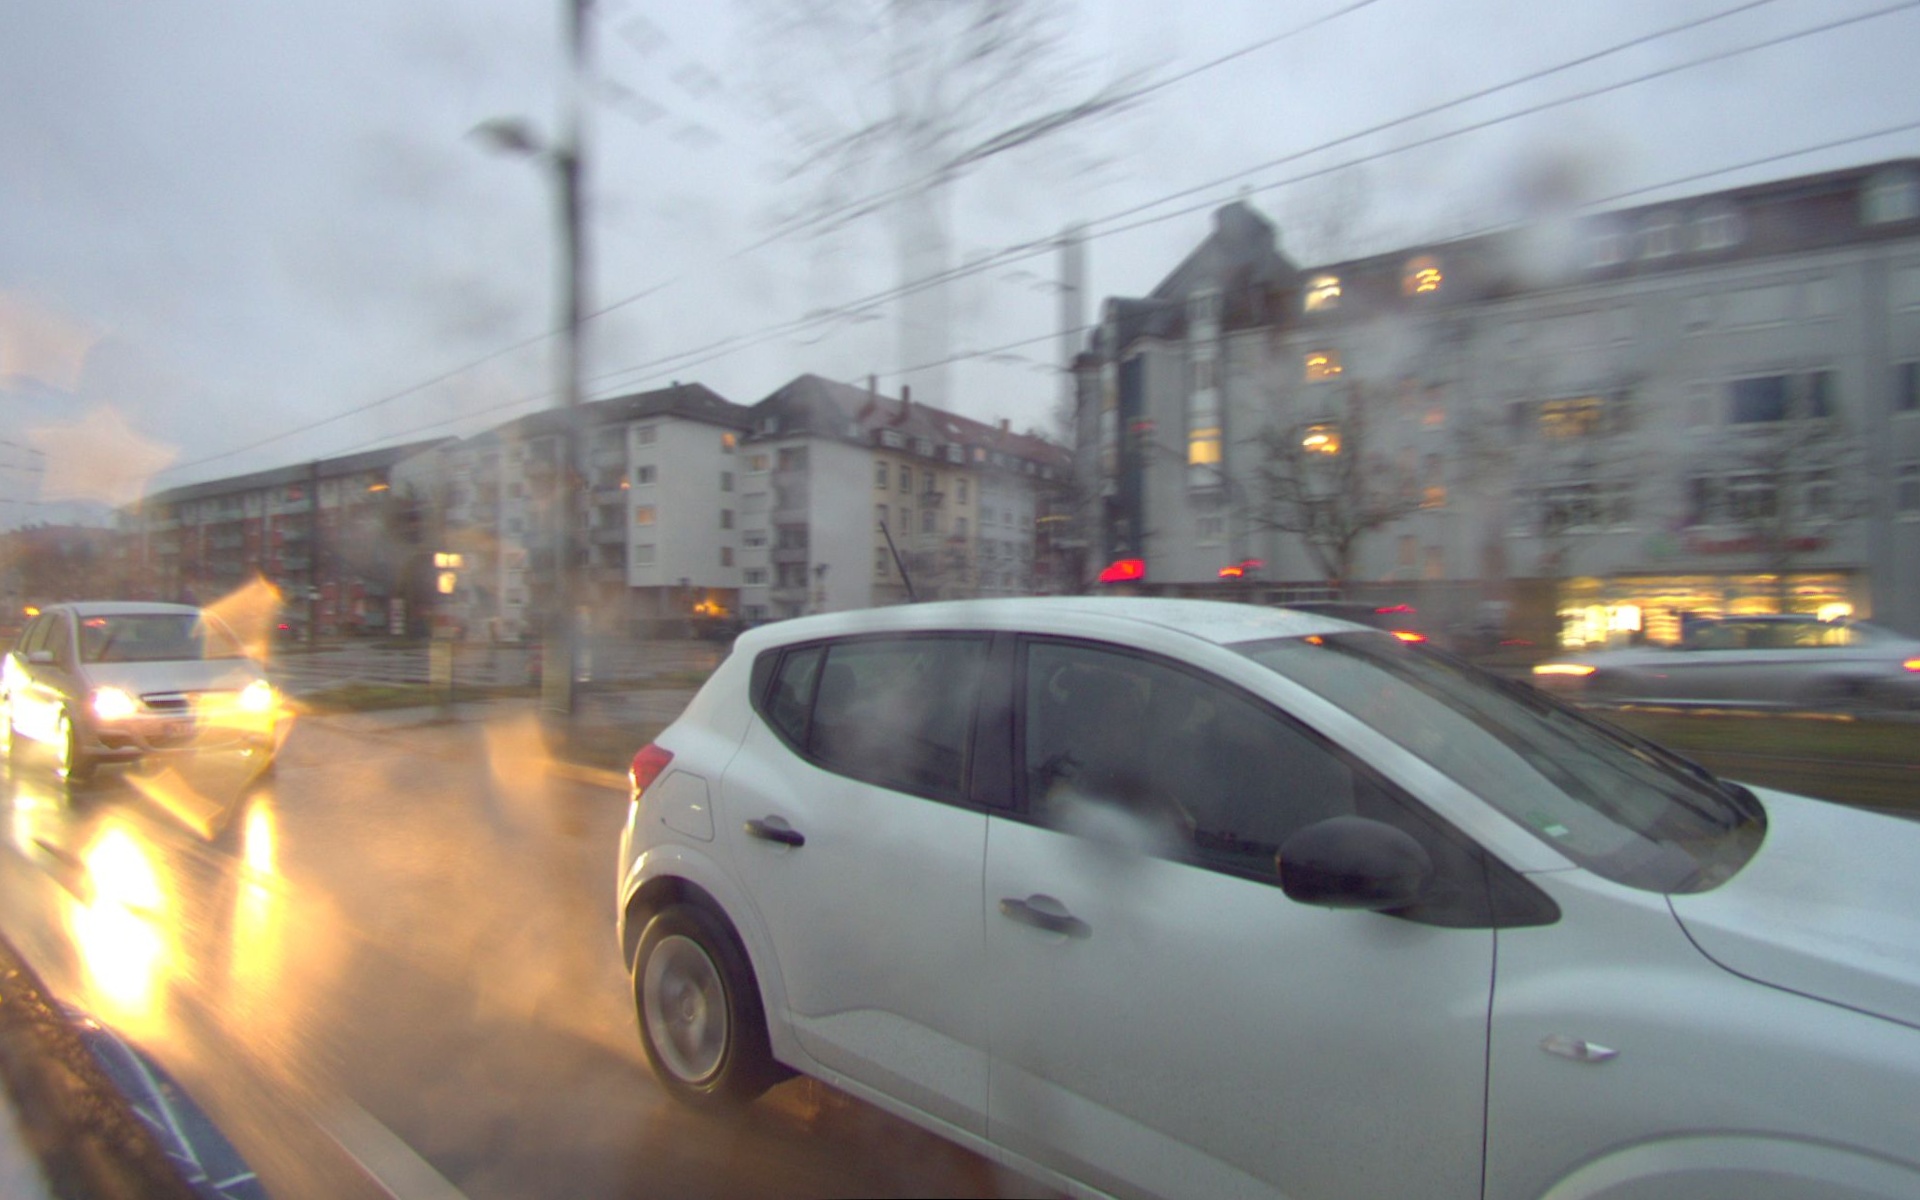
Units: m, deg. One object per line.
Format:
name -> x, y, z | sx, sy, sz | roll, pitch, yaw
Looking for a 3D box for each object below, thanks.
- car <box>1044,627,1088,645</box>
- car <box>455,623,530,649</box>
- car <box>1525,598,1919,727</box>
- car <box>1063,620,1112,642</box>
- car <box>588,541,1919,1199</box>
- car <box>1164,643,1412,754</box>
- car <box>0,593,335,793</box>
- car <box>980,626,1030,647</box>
car -> 9.083, 3.078, 86.726 | 3.505, 1.456, 1.429 | 0, 1, 34
car -> -27.711, 2.095, 60.078 | 1.691, 1.377, 3.773 | 0, 1, 29
car -> 10.601, 0.760, 13.870 | 4.920, 1.540, 1.575 | 0, 1, 33
car -> 11.125, 2.657, 88.088 | 3.989, 1.813, 1.557 | 0, 1, 34
car -> 0.899, 0.656, 2.536 | 3.997, 1.477, 1.691 | 0, 1, 40
car -> 5.910, 1.683, 18.350 | 3.987, 1.618, 1.791 | 0, 1, 33
car -> -8.483, 0.777, 10.598 | 3.993, 1.690, 1.997 | 0, 1, 37
car -> 3.504, 2.865, 79.432 | 3.606, 1.533, 1.662 | 0, 1, 34
